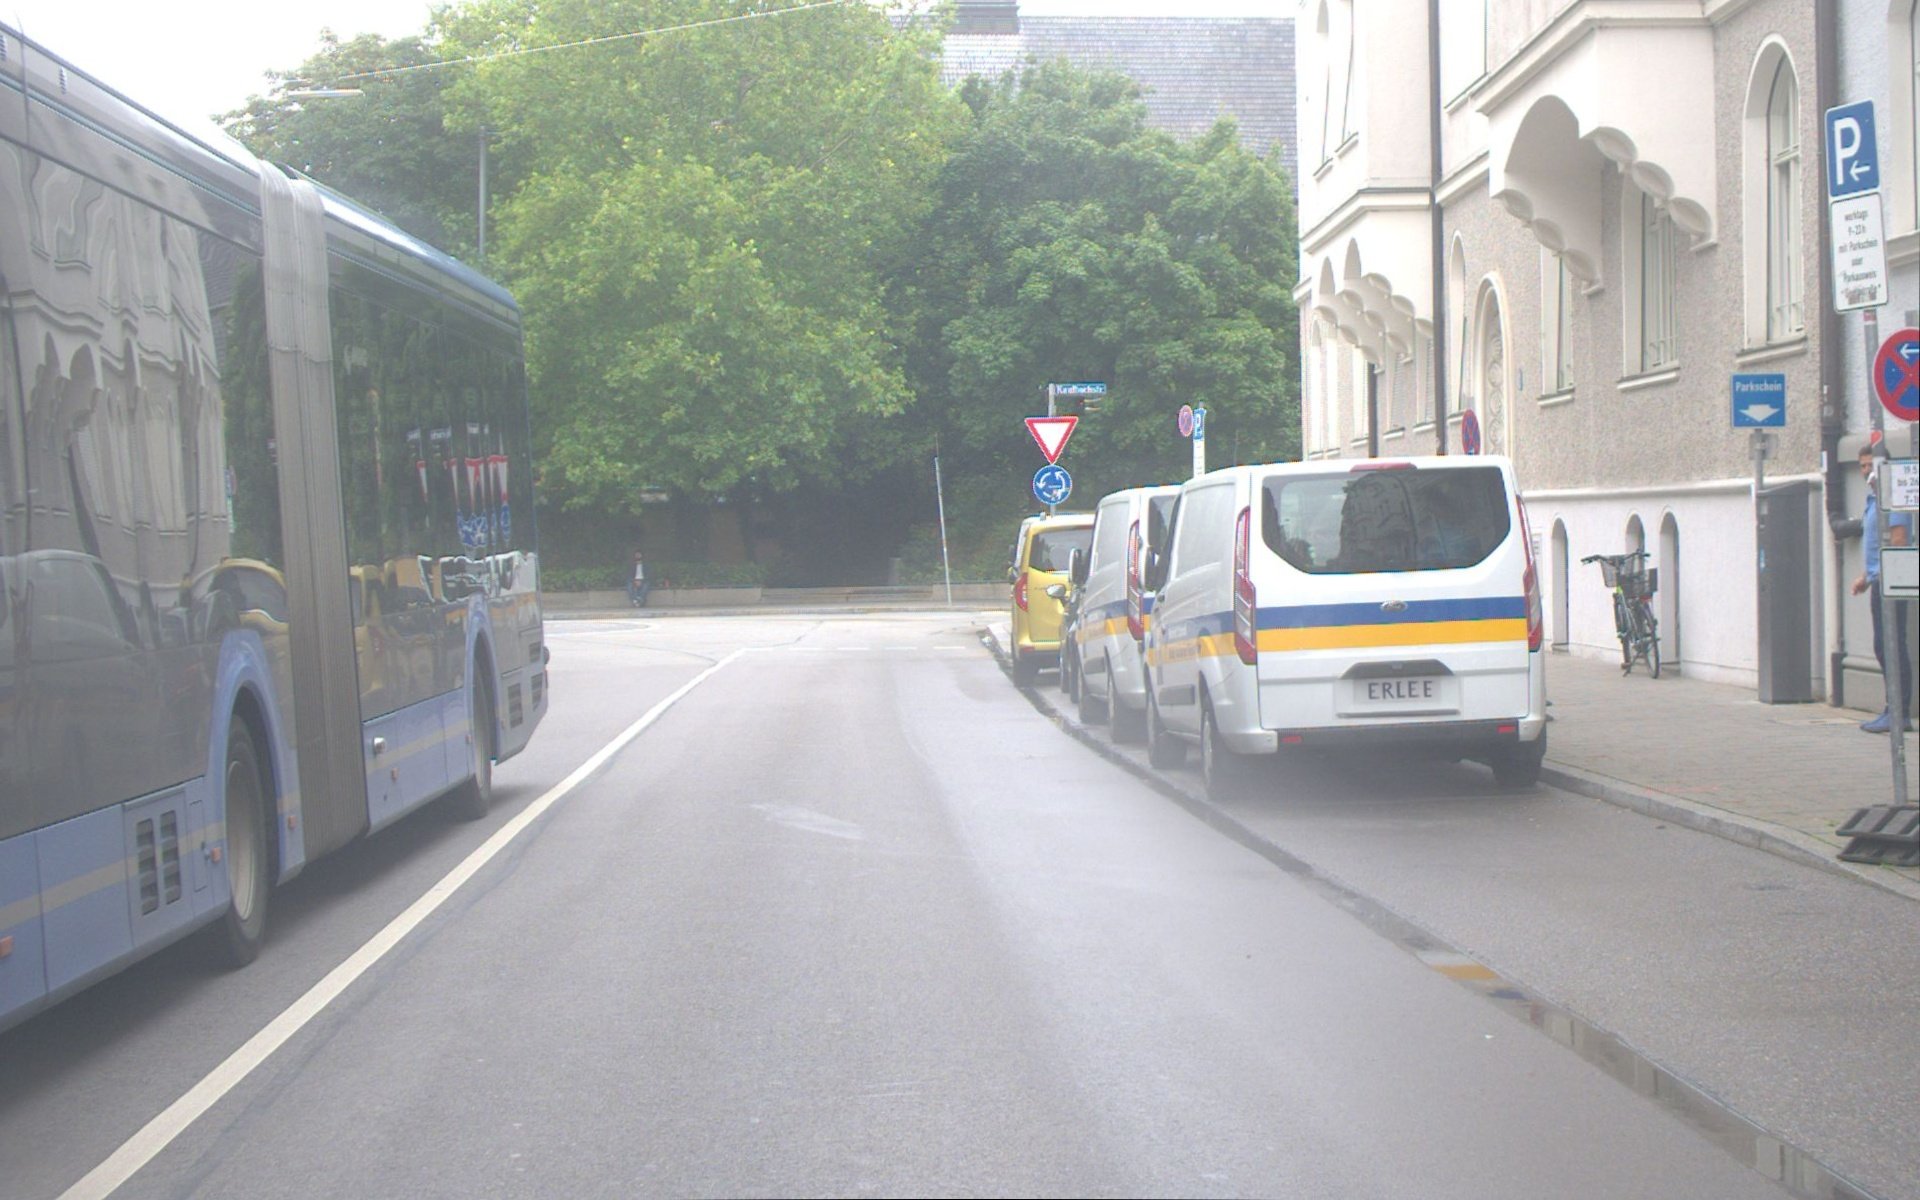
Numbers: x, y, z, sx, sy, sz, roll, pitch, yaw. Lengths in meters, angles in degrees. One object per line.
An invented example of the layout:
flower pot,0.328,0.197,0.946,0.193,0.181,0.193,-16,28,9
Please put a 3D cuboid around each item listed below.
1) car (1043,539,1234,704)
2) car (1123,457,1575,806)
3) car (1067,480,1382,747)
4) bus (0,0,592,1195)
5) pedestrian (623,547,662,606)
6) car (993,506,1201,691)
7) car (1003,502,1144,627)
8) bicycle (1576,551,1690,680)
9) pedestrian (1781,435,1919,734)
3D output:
car,1.703,0.166,33.811,1.633,1.509,3.885,-1,1,0
car,2.296,0.137,21.680,1.993,1.911,4.879,-1,1,-3
car,2.020,0.060,27.680,1.993,1.911,4.887,-1,1,-2
bus,-4.004,-0.182,13.520,3.171,3.201,18.059,-3,1,0
pedestrian,-7.364,-0.555,79.861,0.769,1.352,1.131,-1,1,0
car,1.472,-0.050,38.624,1.993,1.911,4.571,-1,1,-2
car,1.839,-0.611,57.289,1.938,1.915,5.375,-2,1,-2
bicycle,6.108,0.127,31.278,0.666,1.129,1.722,-1,1,-1
pedestrian,5.860,-0.106,22.355,0.852,1.896,0.746,-1,1,2
